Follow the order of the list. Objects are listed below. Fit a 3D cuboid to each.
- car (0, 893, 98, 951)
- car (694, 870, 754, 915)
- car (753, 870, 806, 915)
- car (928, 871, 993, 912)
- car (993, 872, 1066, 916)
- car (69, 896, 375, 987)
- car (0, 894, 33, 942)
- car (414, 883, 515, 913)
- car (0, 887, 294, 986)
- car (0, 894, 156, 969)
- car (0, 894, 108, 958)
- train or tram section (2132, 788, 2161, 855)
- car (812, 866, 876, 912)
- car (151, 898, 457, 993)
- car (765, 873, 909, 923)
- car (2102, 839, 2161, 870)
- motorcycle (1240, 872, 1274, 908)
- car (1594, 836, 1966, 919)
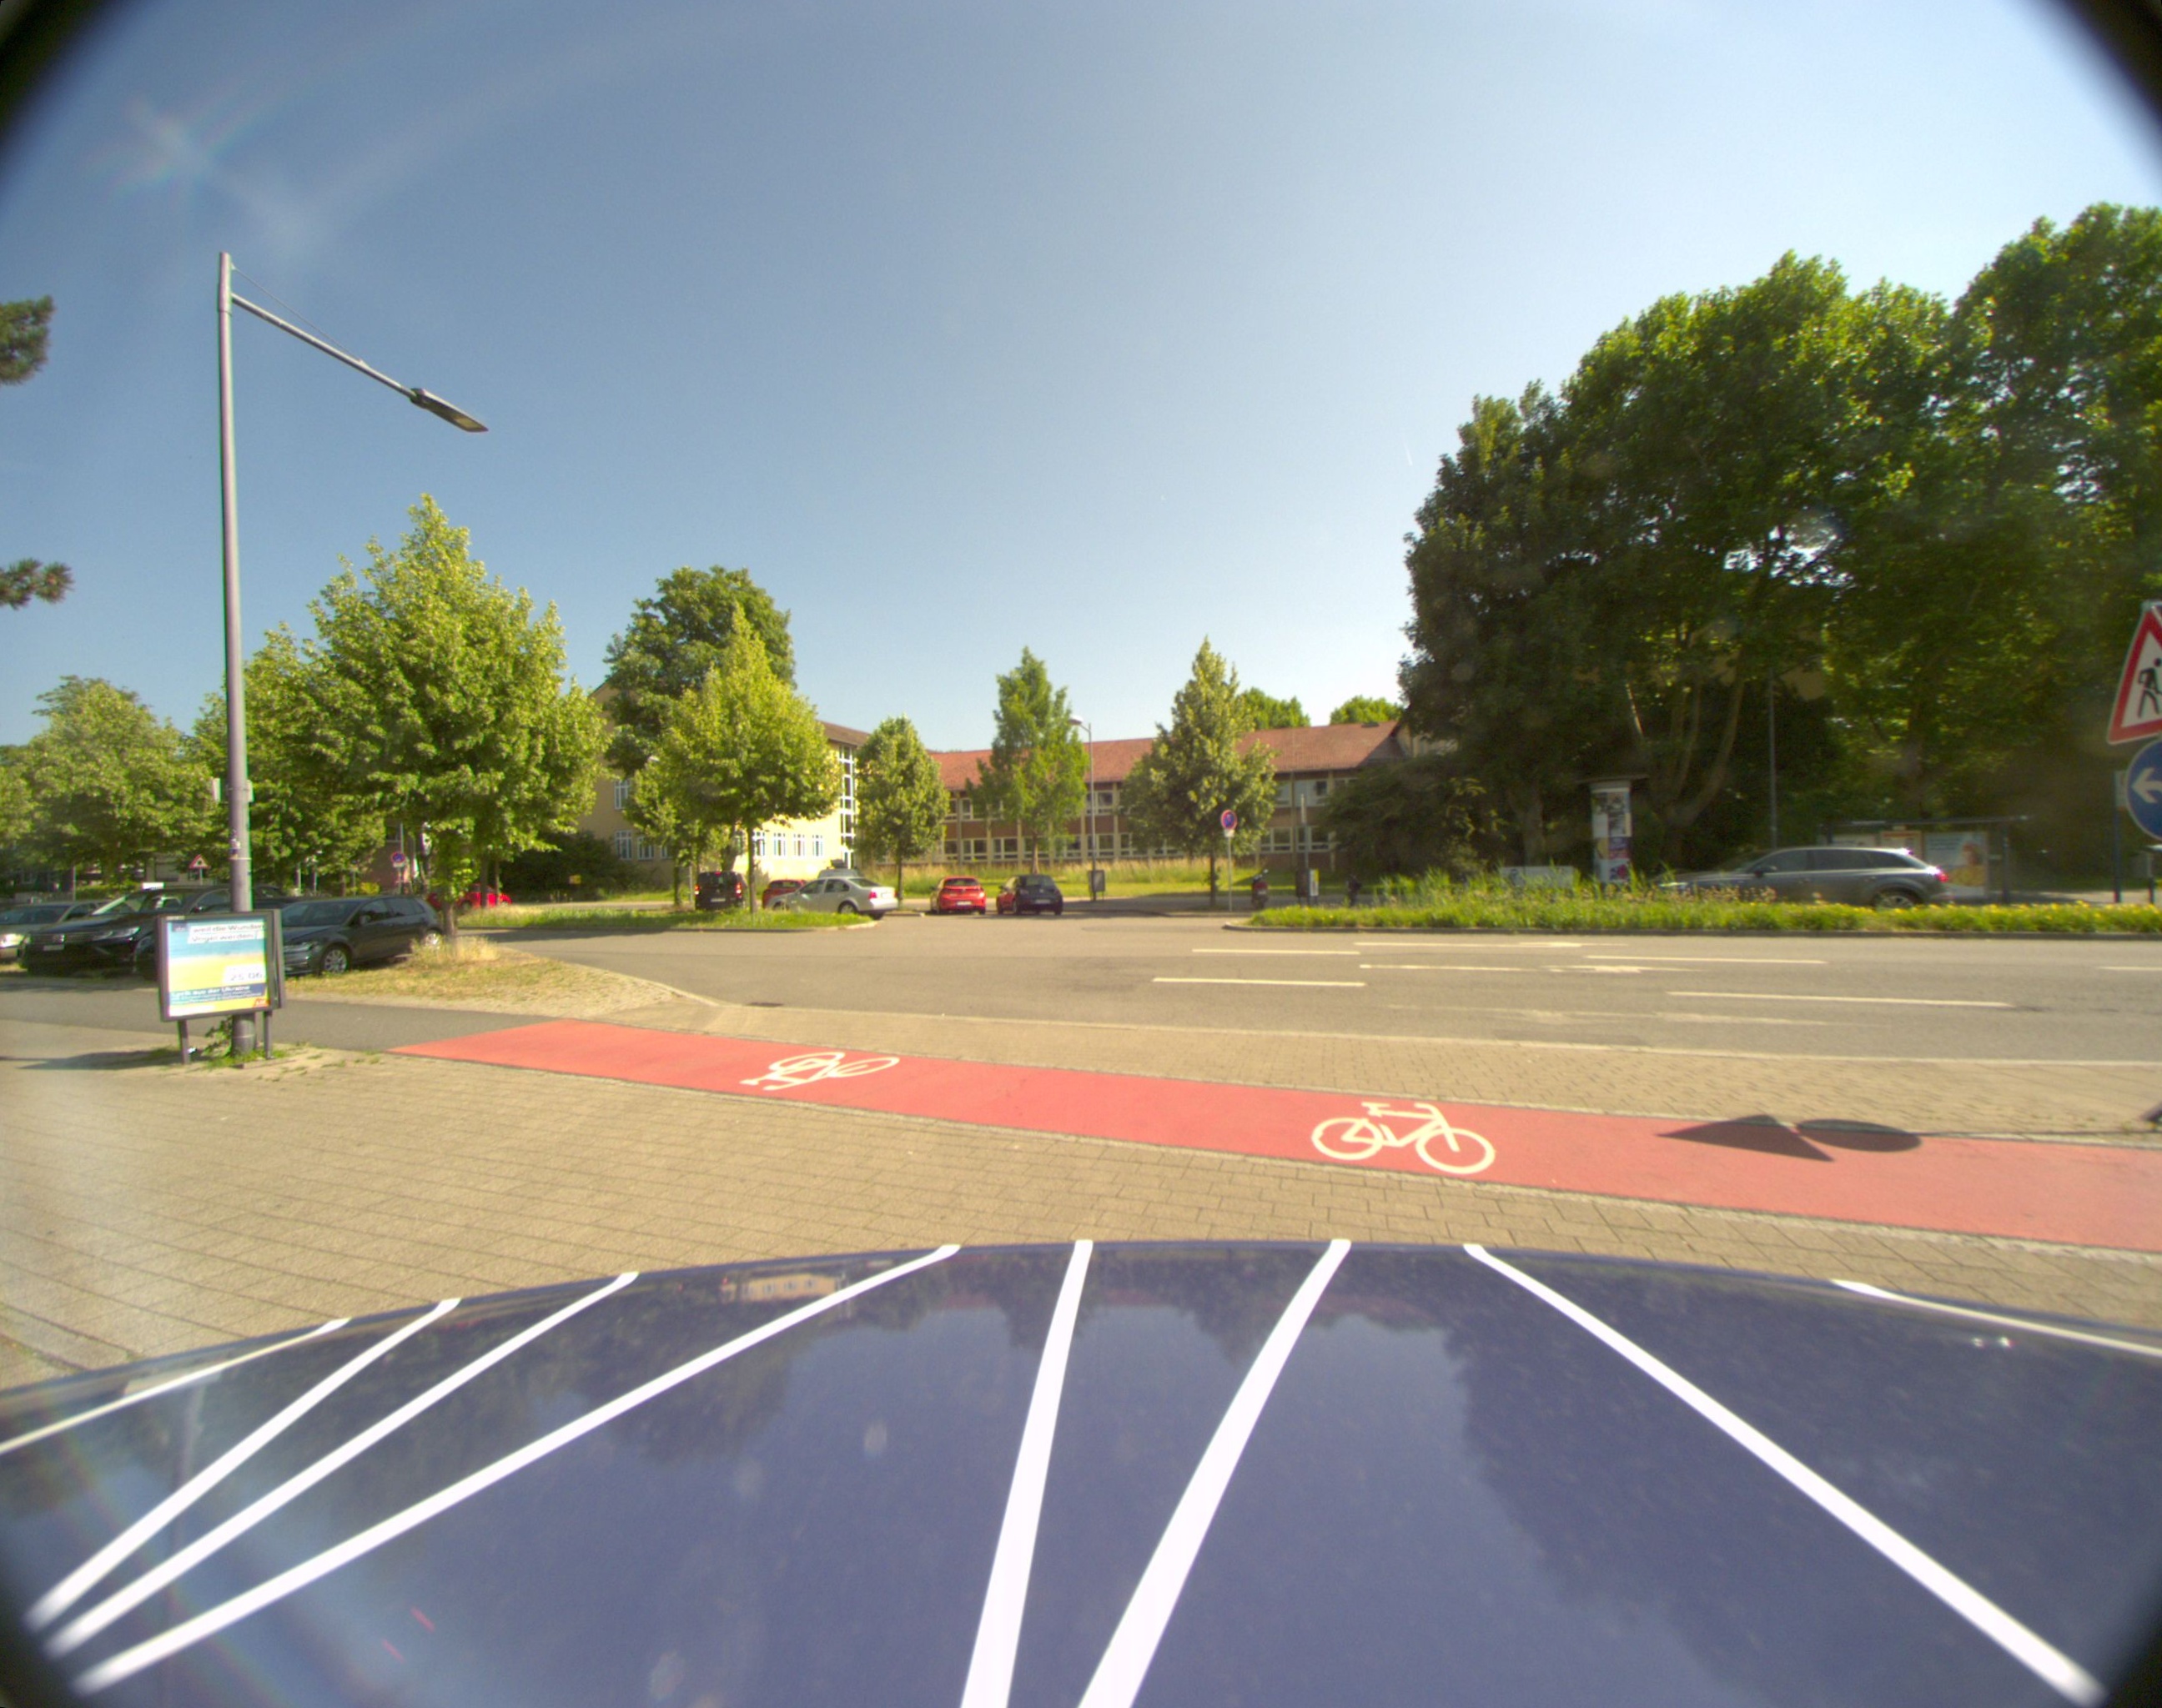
[{"bbox_3d":[-30.204,1.908,20.502,1.703,1.473,4.227,-2,0,4],"label":"car"},{"bbox_3d":[-14.688,1.577,31.451,1.883,1.711,4.220,0,-2,-20],"label":"car"},{"bbox_3d":[-12.329,1.548,31.307,1.883,1.711,4.220,0,-2,-20],"label":"car"},{"bbox_3d":[-4.635,1.388,28.799,1.883,1.450,4.221,0,-2,-17],"label":"car"},{"bbox_3d":[-1.980,1.451,27.970,1.743,1.450,4.221,-1,-2,-17],"label":"car"},{"bbox_3d":[-17.330,1.674,15.730,1.881,1.472,4.224,-1,-2,-7],"label":"car"},{"bbox_3d":[-34.973,2.033,22.525,1.702,1.473,4.231,-2,0,14],"label":"car"},{"bbox_3d":[-30.055,2.110,37.188,1.880,1.382,3.728,-1,-2,1],"label":"car"},{"bbox_3d":[-19.583,1.605,16.240,1.705,1.709,4.399,-1,-1,-13],"label":"car"},{"bbox_3d":[-24.941,1.807,18.226,1.707,1.473,4.218,-2,0,-23],"label":"car"},{"bbox_3d":[-27.636,1.856,19.028,1.705,1.473,4.221,-2,0,-13],"label":"car"},{"bbox_3d":[70.491,-2.178,44.034,2.323,4.463,15.949,-1,0,18],"label":"train or tram section"},{"bbox_3d":[-9.431,1.387,30.539,1.882,1.712,4.223,0,-2,-10],"label":"car"},{"bbox_3d":[-14.476,1.622,14.598,1.881,1.408,4.224,-1,-2,-7],"label":"car"},{"bbox_3d":[-7.889,1.422,24.612,4.151,1.475,1.743,-2,-1,18],"label":"car"},{"bbox_3d":[60.578,0.046,42.735,1.865,1.679,4.007,-1,-2,20],"label":"car"},{"bbox_3d":[5.765,1.156,24.962,0.557,1.107,1.758,-2,0,-4],"label":"motorcycle"},{"bbox_3d":[14.936,0.583,16.735,5.647,1.601,2.004,-2,-3,18],"label":"car"}]
